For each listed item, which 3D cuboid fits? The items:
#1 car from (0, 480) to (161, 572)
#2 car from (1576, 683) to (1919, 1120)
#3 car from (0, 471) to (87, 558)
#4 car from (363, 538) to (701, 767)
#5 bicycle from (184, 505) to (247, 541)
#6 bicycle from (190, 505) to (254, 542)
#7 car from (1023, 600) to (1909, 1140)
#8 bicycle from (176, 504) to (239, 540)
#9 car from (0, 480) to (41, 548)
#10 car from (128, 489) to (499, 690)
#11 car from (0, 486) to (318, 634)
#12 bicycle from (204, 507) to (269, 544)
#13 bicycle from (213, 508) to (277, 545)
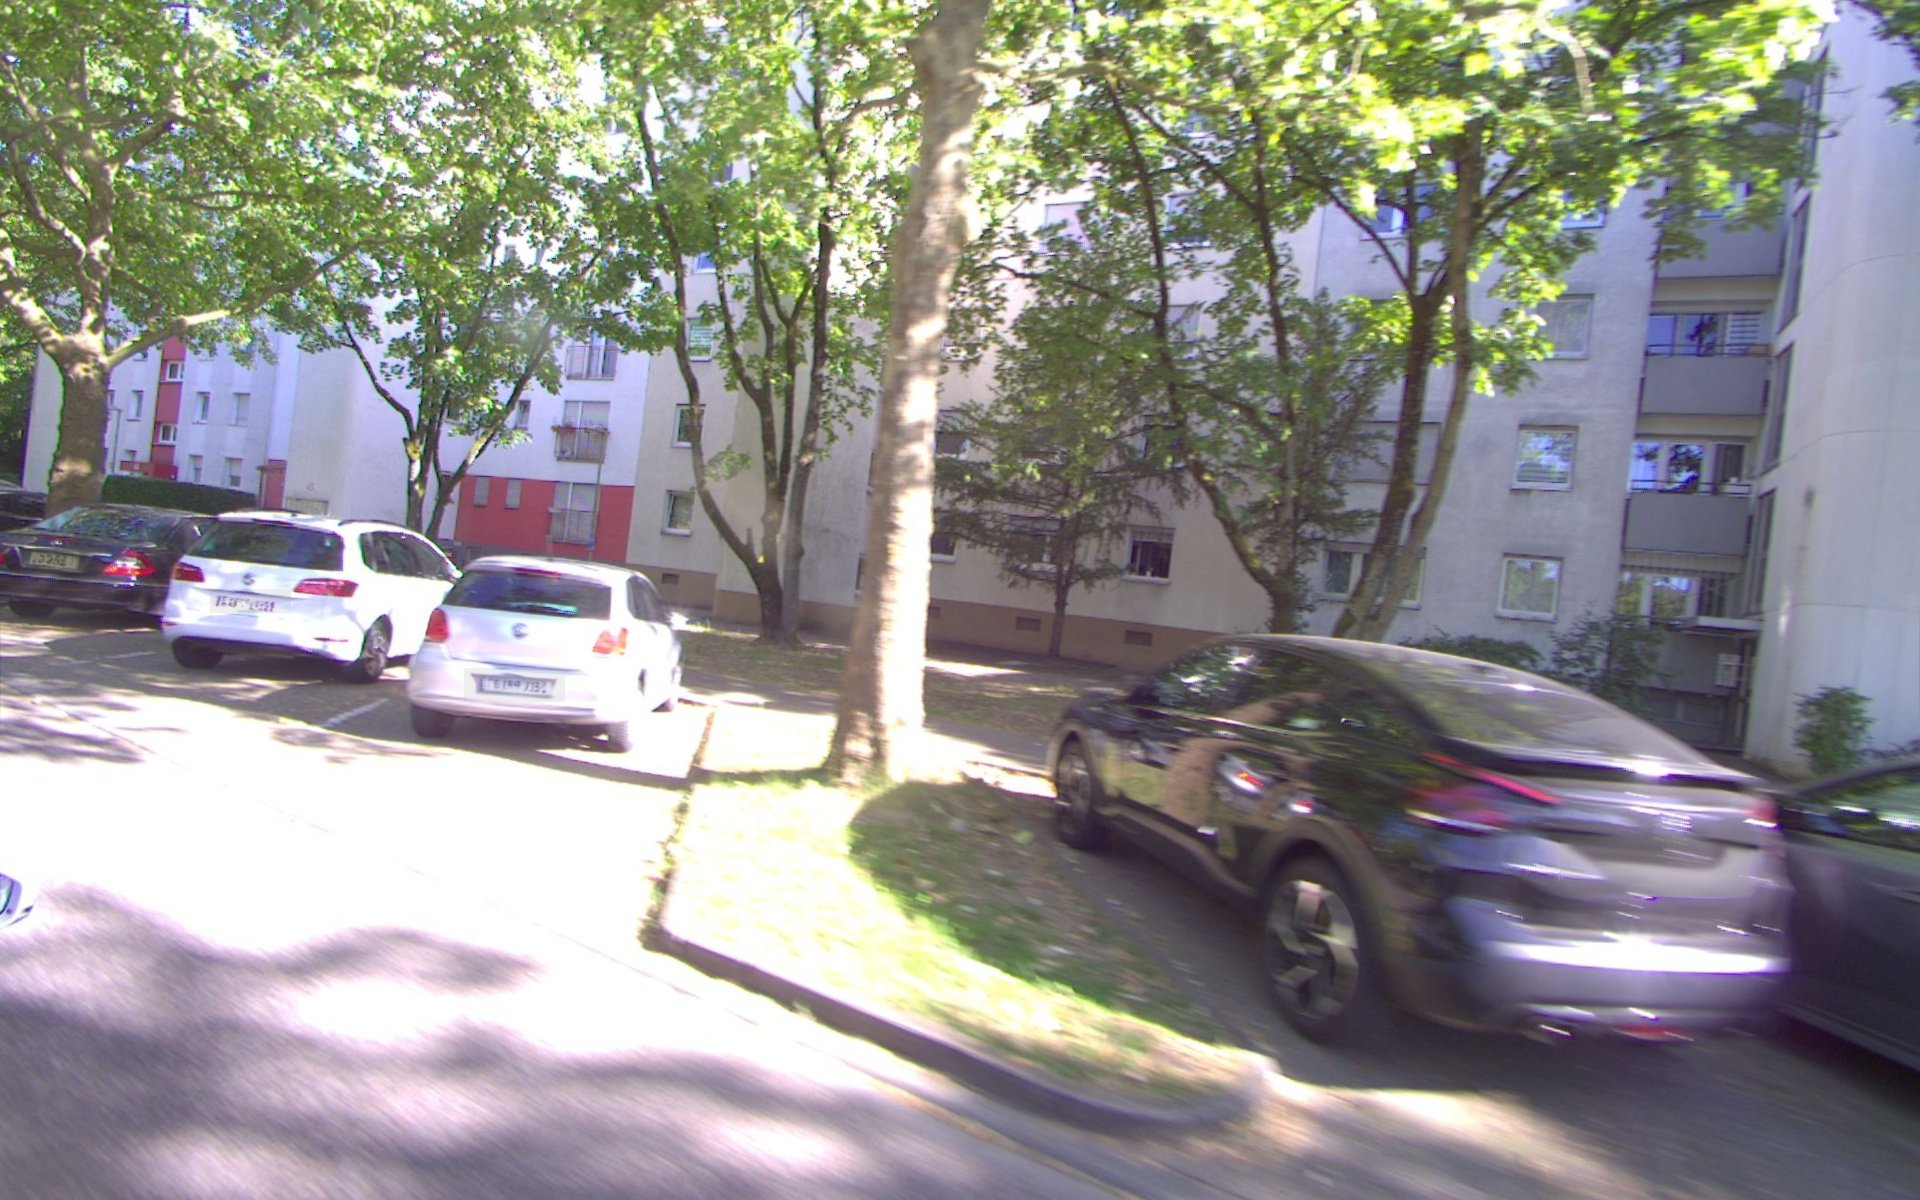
[{"bbox_3d":[-16.117,-1.295,17.055,1.917,1.447,4.401,6,1,-7],"label":"car"},{"bbox_3d":[4.585,1.326,3.599,1.770,1.464,3.878,7,1,-11],"label":"car"},{"bbox_3d":[-18.903,-1.709,19.004,1.769,1.610,3.990,6,1,-10],"label":"car"},{"bbox_3d":[-3.550,0.343,9.175,1.769,1.462,3.992,7,1,-9],"label":"car"},{"bbox_3d":[-27.360,-2.824,36.984,0.491,1.145,1.796,7,3,27],"label":"bicycle"},{"bbox_3d":[-26.880,-2.781,36.663,0.491,1.145,1.796,7,3,27],"label":"bicycle"},{"bbox_3d":[1.891,0.939,5.344,1.772,1.529,4.163,6,1,-14],"label":"car"},{"bbox_3d":[-27.842,-2.878,37.234,0.491,1.145,1.796,7,3,27],"label":"bicycle"},{"bbox_3d":[-21.442,-1.923,20.778,1.802,1.438,3.988,6,1,-13],"label":"car"},{"bbox_3d":[-6.665,-0.126,10.968,1.769,1.596,3.993,7,1,-8],"label":"car"},{"bbox_3d":[-10.385,-0.525,13.160,1.771,1.441,4.577,7,1,-13],"label":"car"},{"bbox_3d":[-25.927,-2.665,36.094,0.540,1.145,1.796,7,3,27],"label":"bicycle"},{"bbox_3d":[-25.423,-2.597,35.811,0.491,1.145,1.796,7,3,27],"label":"bicycle"}]
